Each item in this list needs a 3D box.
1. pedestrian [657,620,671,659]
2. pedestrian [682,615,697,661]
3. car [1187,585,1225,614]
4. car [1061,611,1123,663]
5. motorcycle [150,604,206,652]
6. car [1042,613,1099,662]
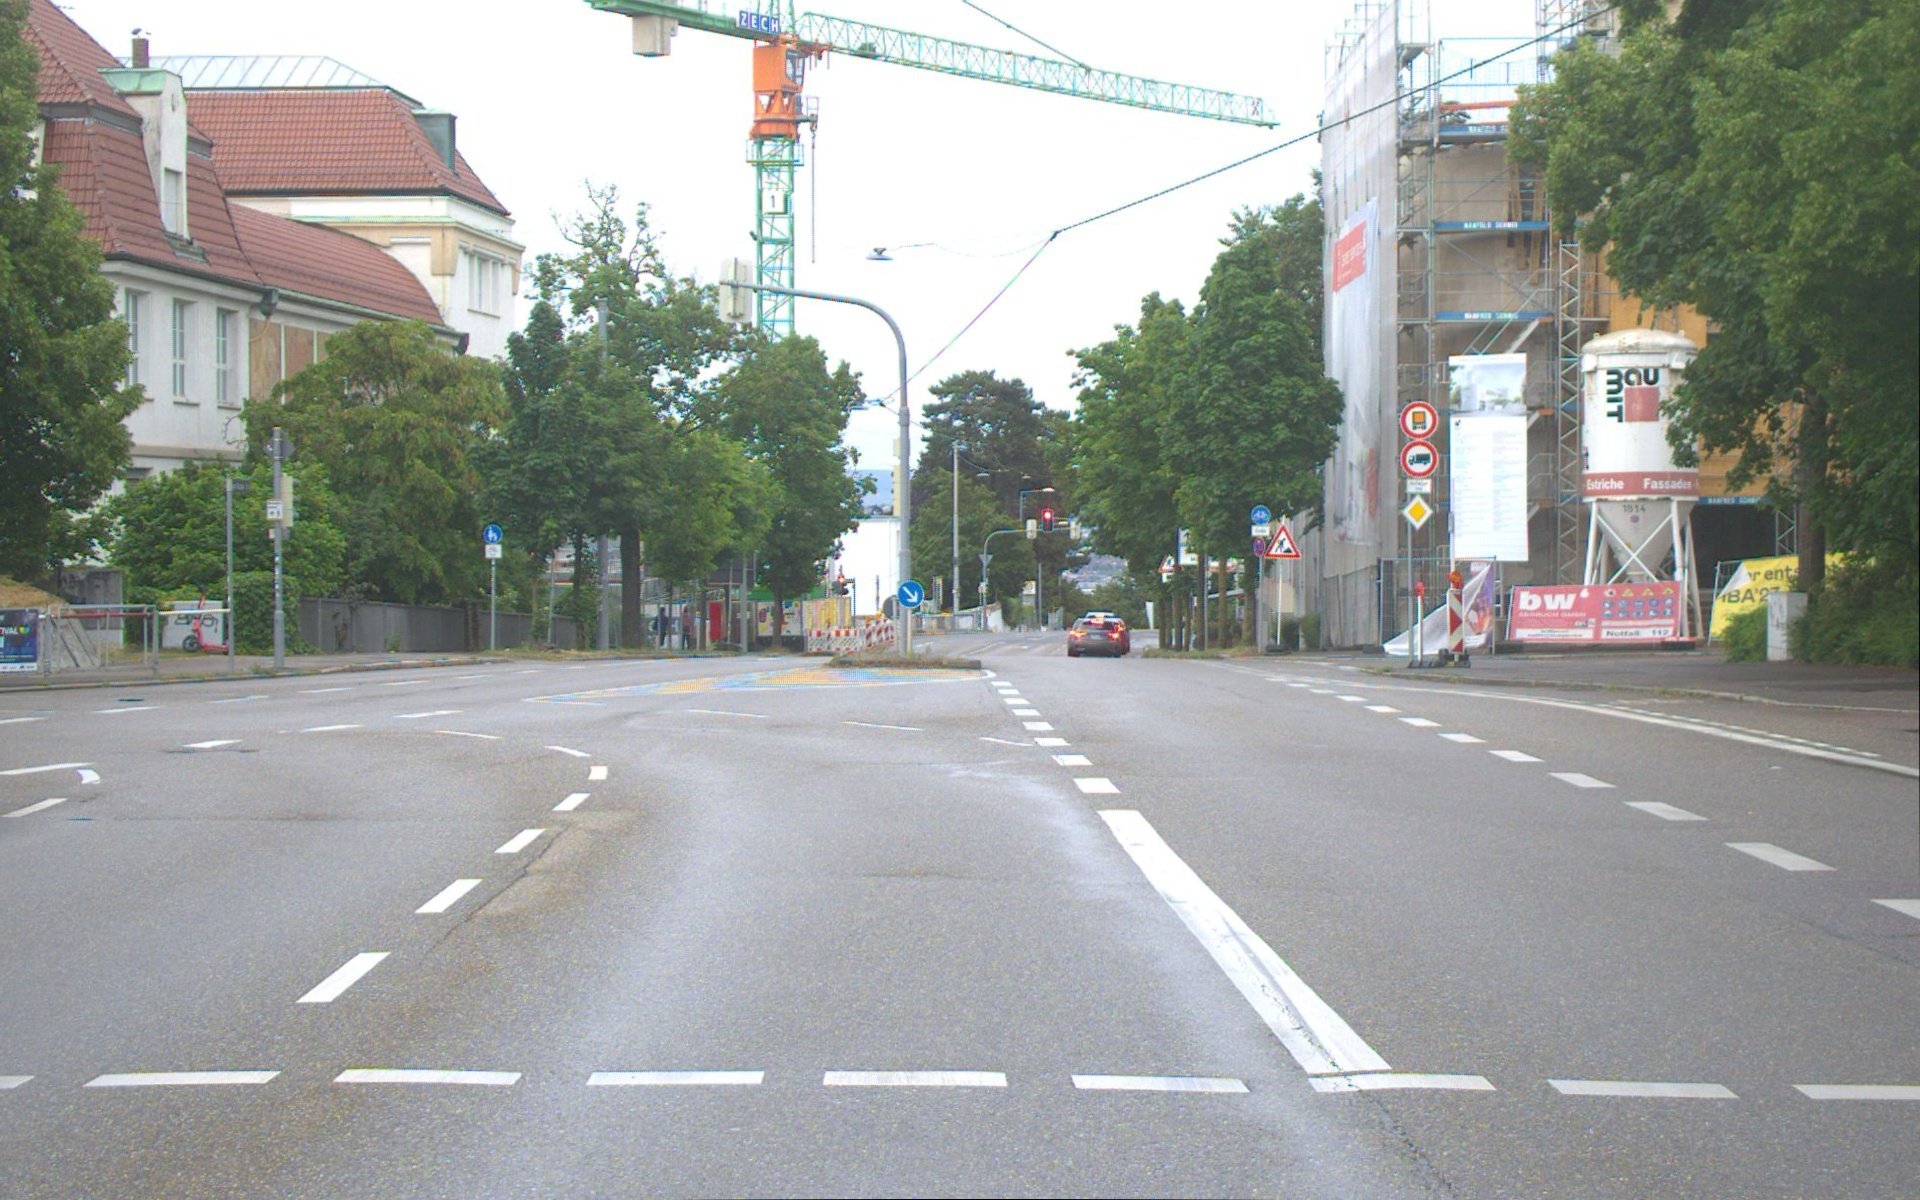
[{"bbox_3d":[-10.640,1.421,123.503,0.474,1.391,0.411,-1,1,-1],"label":"pedestrian"},{"bbox_3d":[-9.730,1.353,123.485,0.493,1.640,0.534,1,0,-6],"label":"pedestrian"},{"bbox_3d":[15.696,-0.037,219.336,1.994,1.744,3.998,-1,1,11],"label":"car"},{"bbox_3d":[4.779,1.329,125.009,1.993,1.744,4.000,-1,1,-1],"label":"car"},{"bbox_3d":[-14.709,0.518,64.680,0.849,0.874,0.877,1,0,-1],"label":"motorcycle"},{"bbox_3d":[4.225,1.430,131.900,1.993,1.744,4.000,-1,1,-1],"label":"car"}]
